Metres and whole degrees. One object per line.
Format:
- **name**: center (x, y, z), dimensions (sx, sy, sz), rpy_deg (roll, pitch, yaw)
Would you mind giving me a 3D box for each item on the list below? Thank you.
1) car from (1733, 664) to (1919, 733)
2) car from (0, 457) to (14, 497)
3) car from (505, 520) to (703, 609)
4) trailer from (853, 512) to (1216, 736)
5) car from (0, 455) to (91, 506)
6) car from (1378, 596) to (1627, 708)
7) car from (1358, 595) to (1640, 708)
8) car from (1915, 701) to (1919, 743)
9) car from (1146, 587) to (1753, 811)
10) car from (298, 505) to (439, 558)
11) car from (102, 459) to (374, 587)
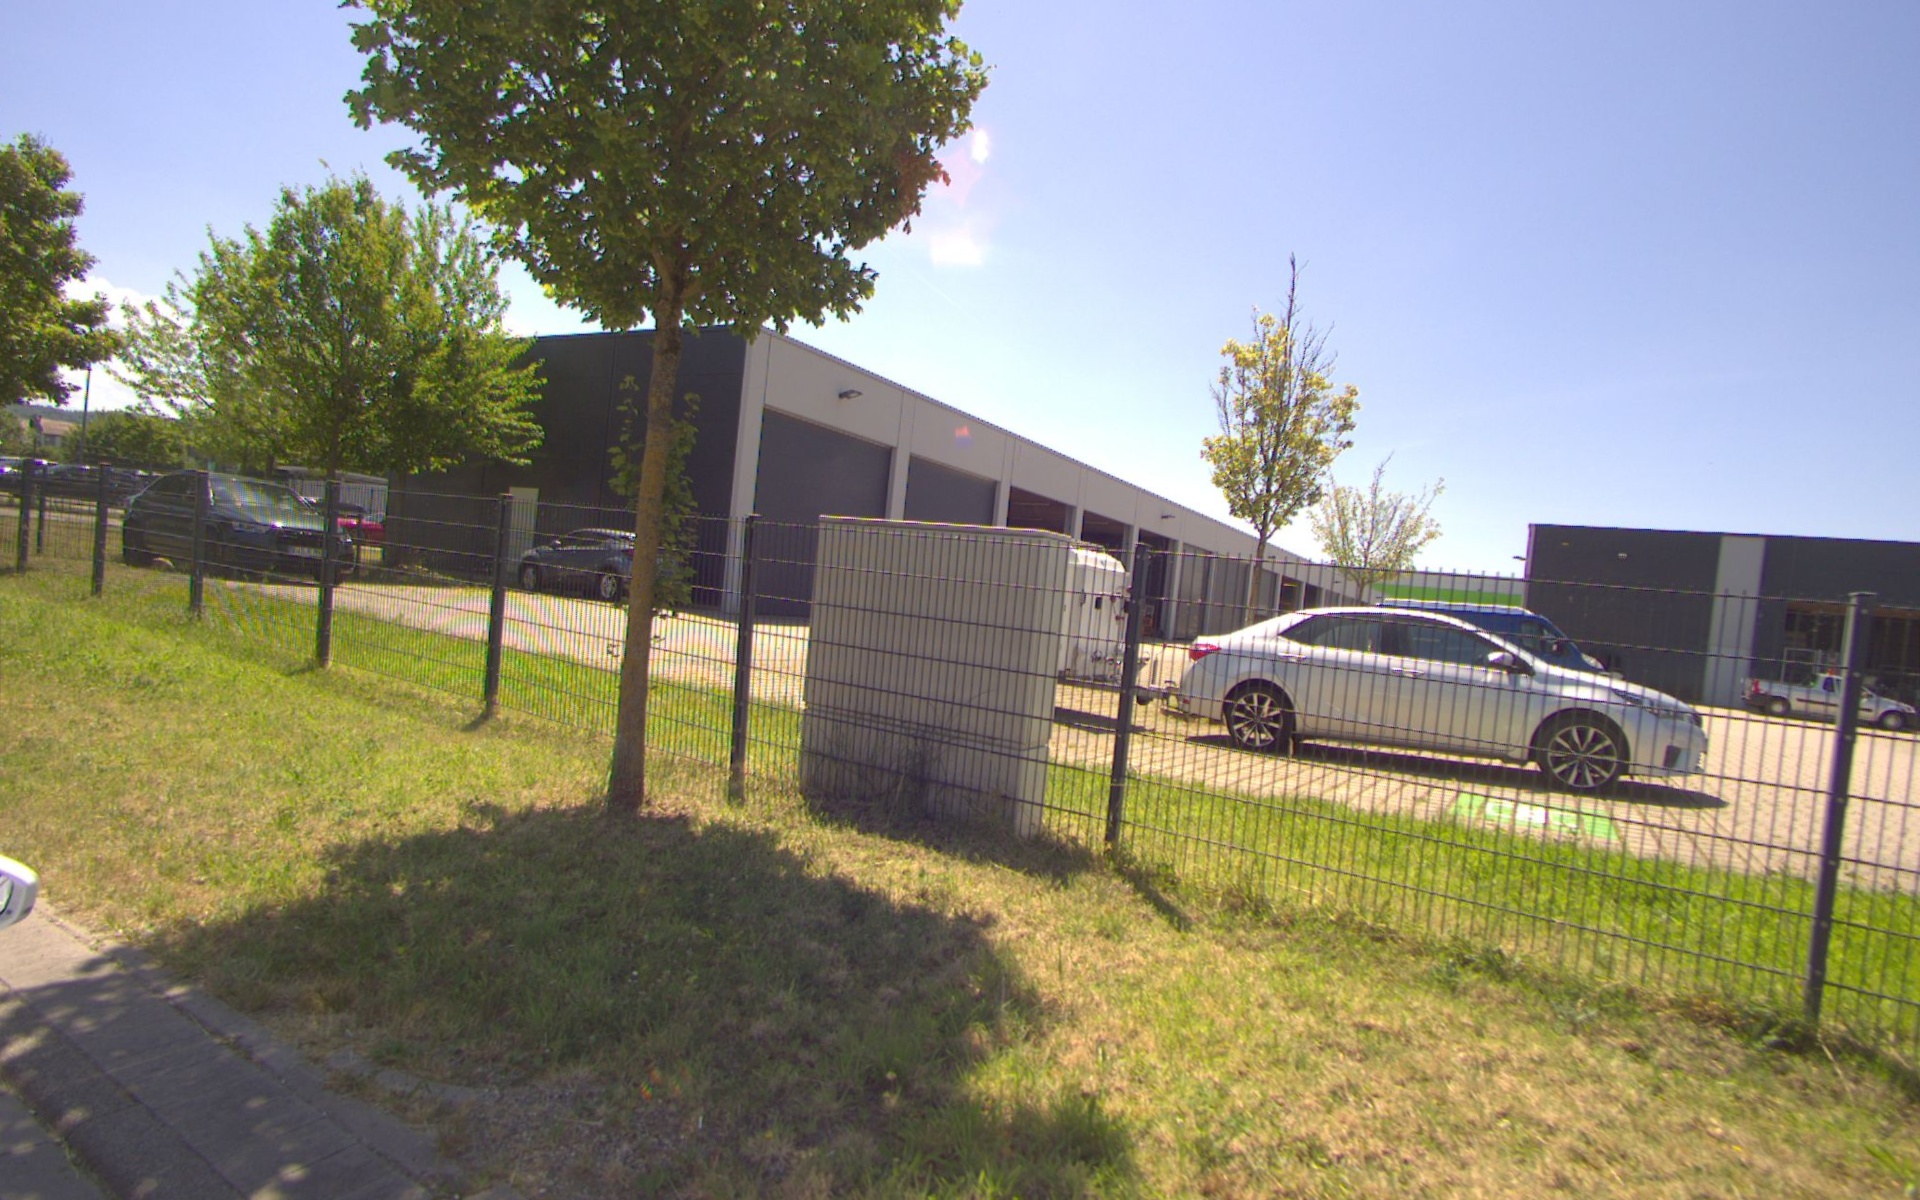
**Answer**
- **car**: center (28.468, 3.199, 33.073), dimensions (4.530, 1.517, 1.852), rpy_deg (7, 0, 31)
- **car**: center (-43.654, -5.596, 43.140), dimensions (1.964, 1.710, 3.994), rpy_deg (7, 1, 26)
- **car**: center (-7.815, -0.788, 22.024), dimensions (4.102, 1.587, 1.776), rpy_deg (5, 0, 30)
- **trailer**: center (0.846, 0.227, 11.989), dimensions (3.676, 2.024, 1.851), rpy_deg (8, 1, 32)
- **car**: center (-37.066, -4.798, 39.454), dimensions (2.076, 1.576, 3.993), rpy_deg (7, 1, 28)
- **car**: center (14.543, 1.356, 27.262), dimensions (5.584, 2.487, 2.193), rpy_deg (3, -1, 30)
- **car**: center (13.021, 1.190, 24.627), dimensions (5.736, 2.252, 2.140), rpy_deg (3, -1, 30)
- **car**: center (23.990, 2.759, 22.165), dimensions (3.861, 1.518, 1.850), rpy_deg (7, 1, 33)
- **car**: center (4.435, 0.799, 9.707), dimensions (4.778, 1.517, 1.851), rpy_deg (3, -2, 32)
- **car**: center (-22.069, -2.529, 37.685), dimensions (1.751, 1.375, 4.161), rpy_deg (8, 2, 32)
- **car**: center (-11.203, -1.211, 15.547), dimensions (4.211, 1.622, 1.776), rpy_deg (5, 0, 30)
